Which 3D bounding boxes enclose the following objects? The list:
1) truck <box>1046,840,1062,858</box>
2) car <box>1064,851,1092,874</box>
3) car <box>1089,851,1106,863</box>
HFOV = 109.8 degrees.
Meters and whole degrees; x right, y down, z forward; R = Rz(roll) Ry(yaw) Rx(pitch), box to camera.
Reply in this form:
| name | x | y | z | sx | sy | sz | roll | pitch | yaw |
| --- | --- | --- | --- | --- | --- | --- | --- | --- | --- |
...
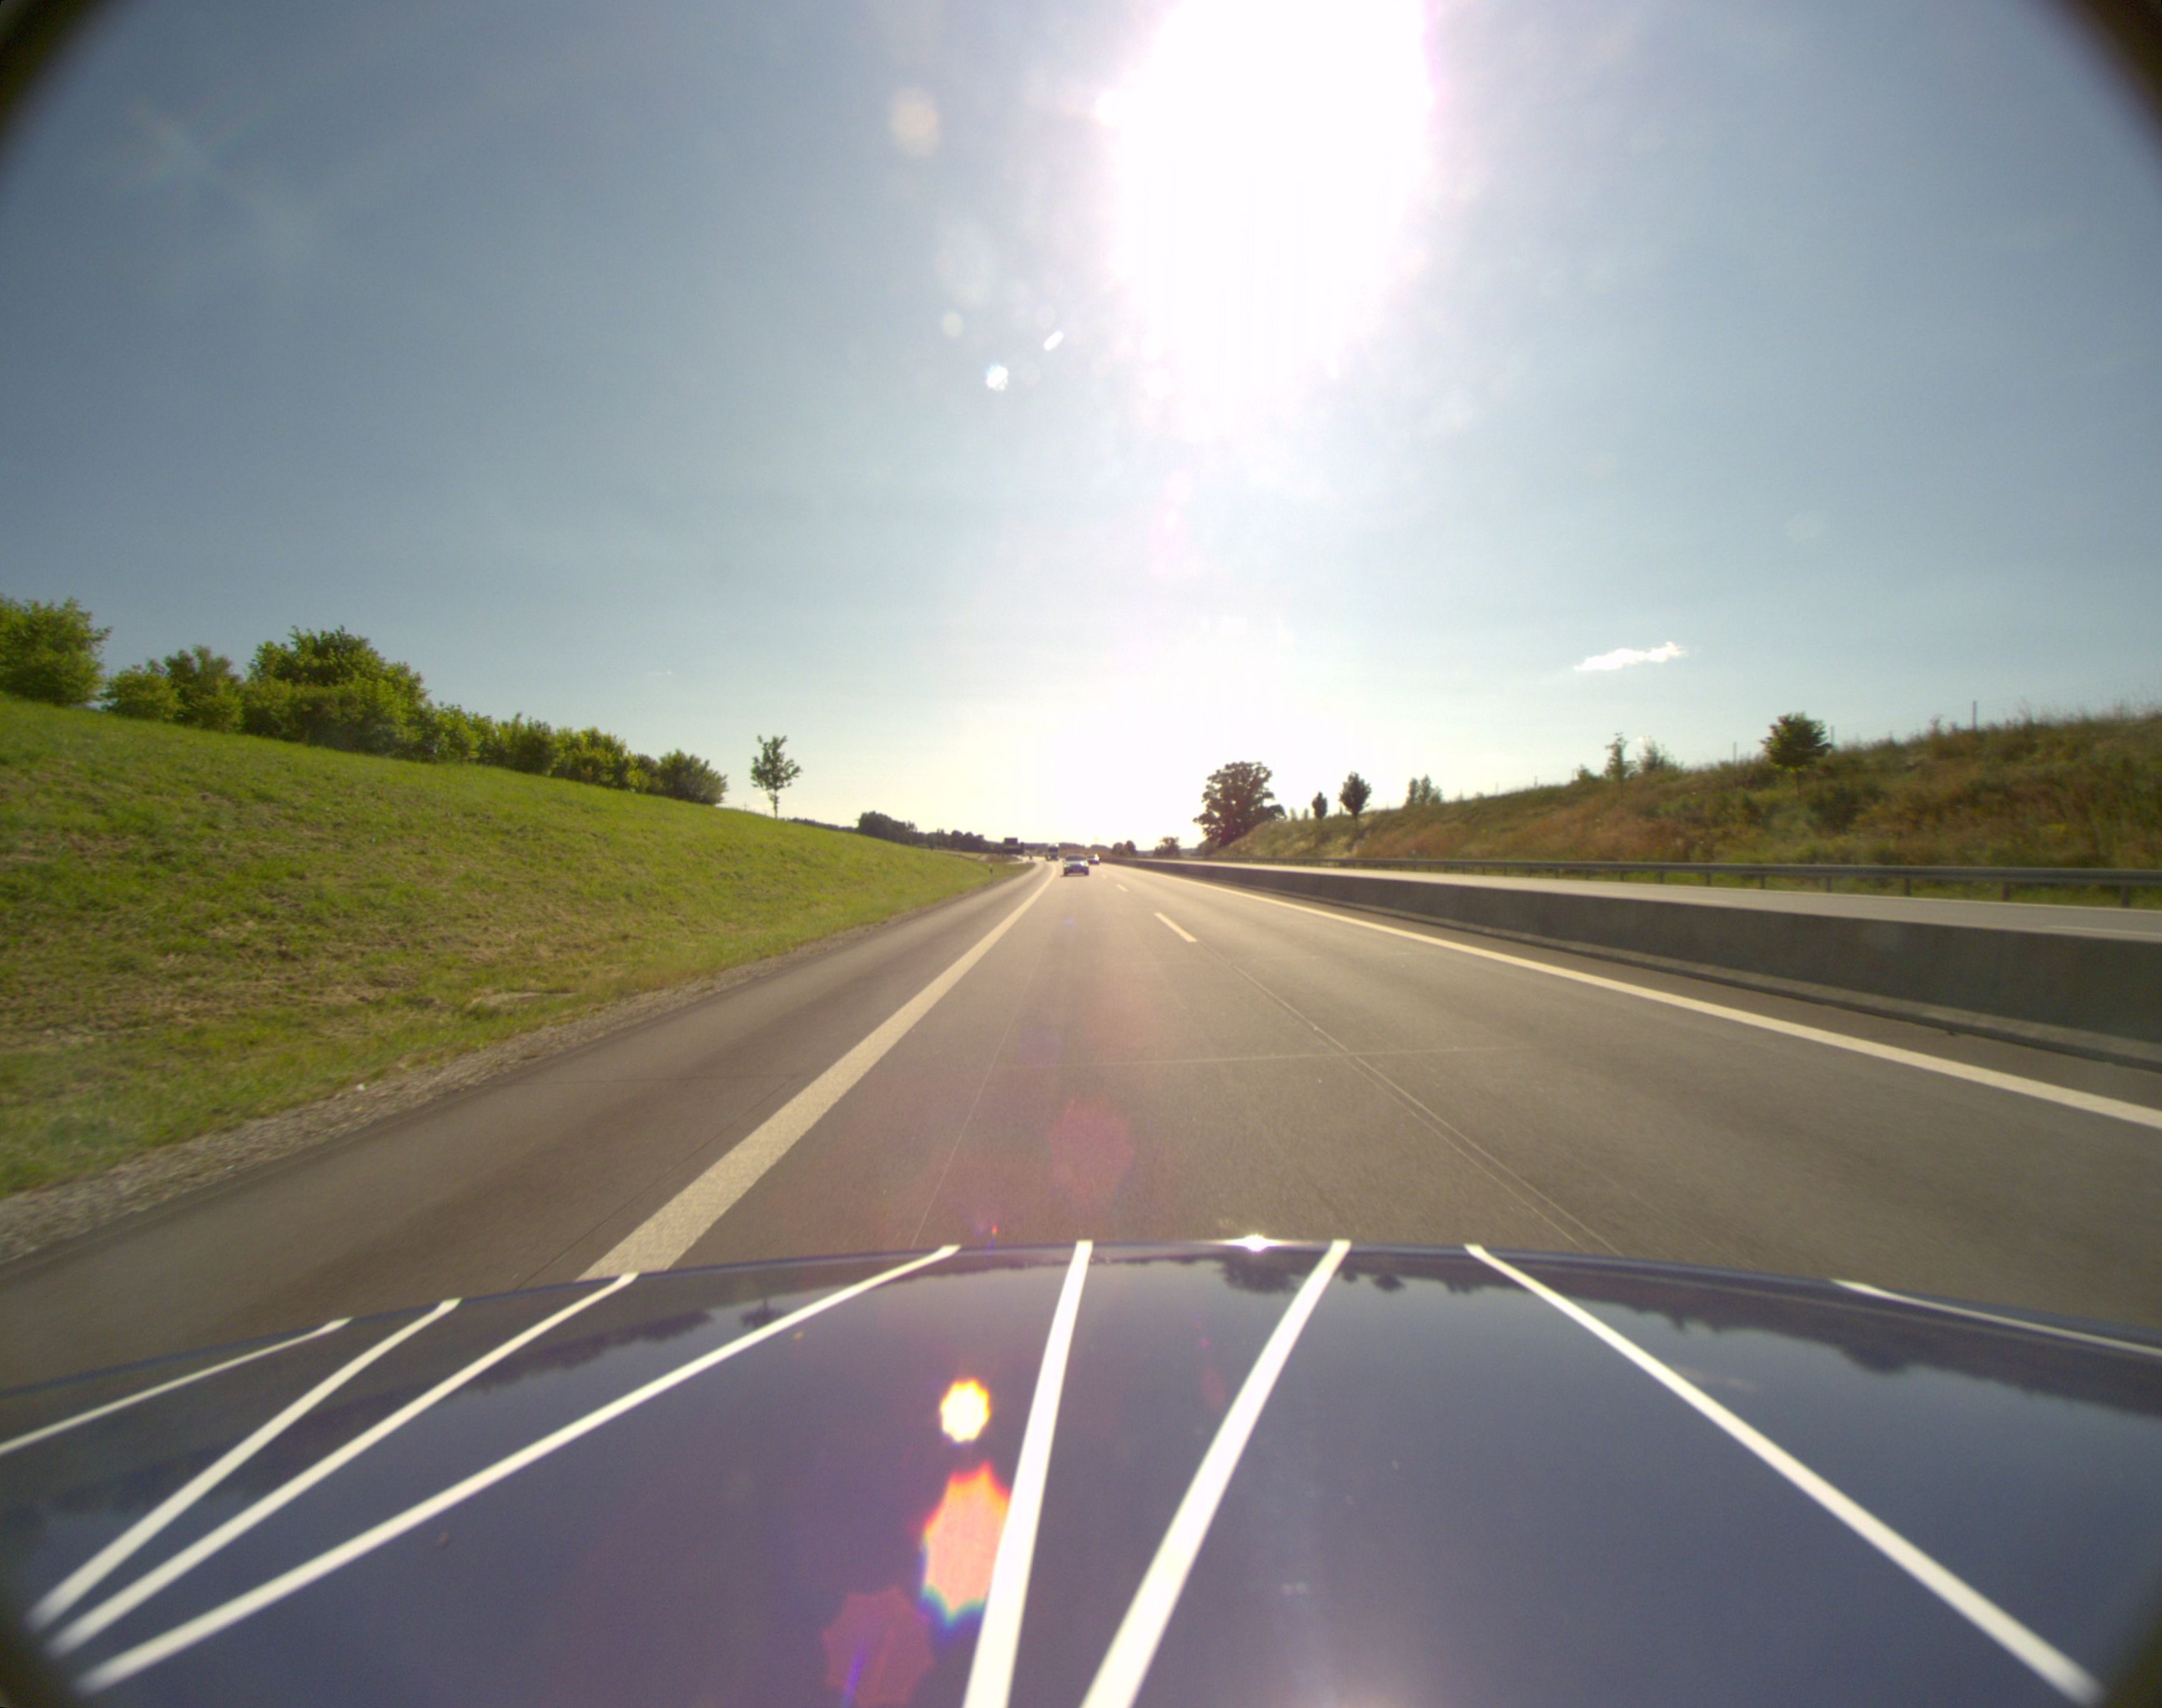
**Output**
| name | x | y | z | sx | sy | sz | roll | pitch | yaw |
| --- | --- | --- | --- | --- | --- | --- | --- | --- | --- |
| truck | -6.226 | -1.104 | 175.763 | 3.092 | 3.991 | 6.185 | -1 | 0 | -6 |
| car | -0.246 | 0.611 | 55.898 | 1.892 | 1.565 | 3.791 | -2 | 1 | -2 |
| car | 2.190 | 0.365 | 102.414 | 1.900 | 1.560 | 3.998 | -1 | 0 | -3 |
